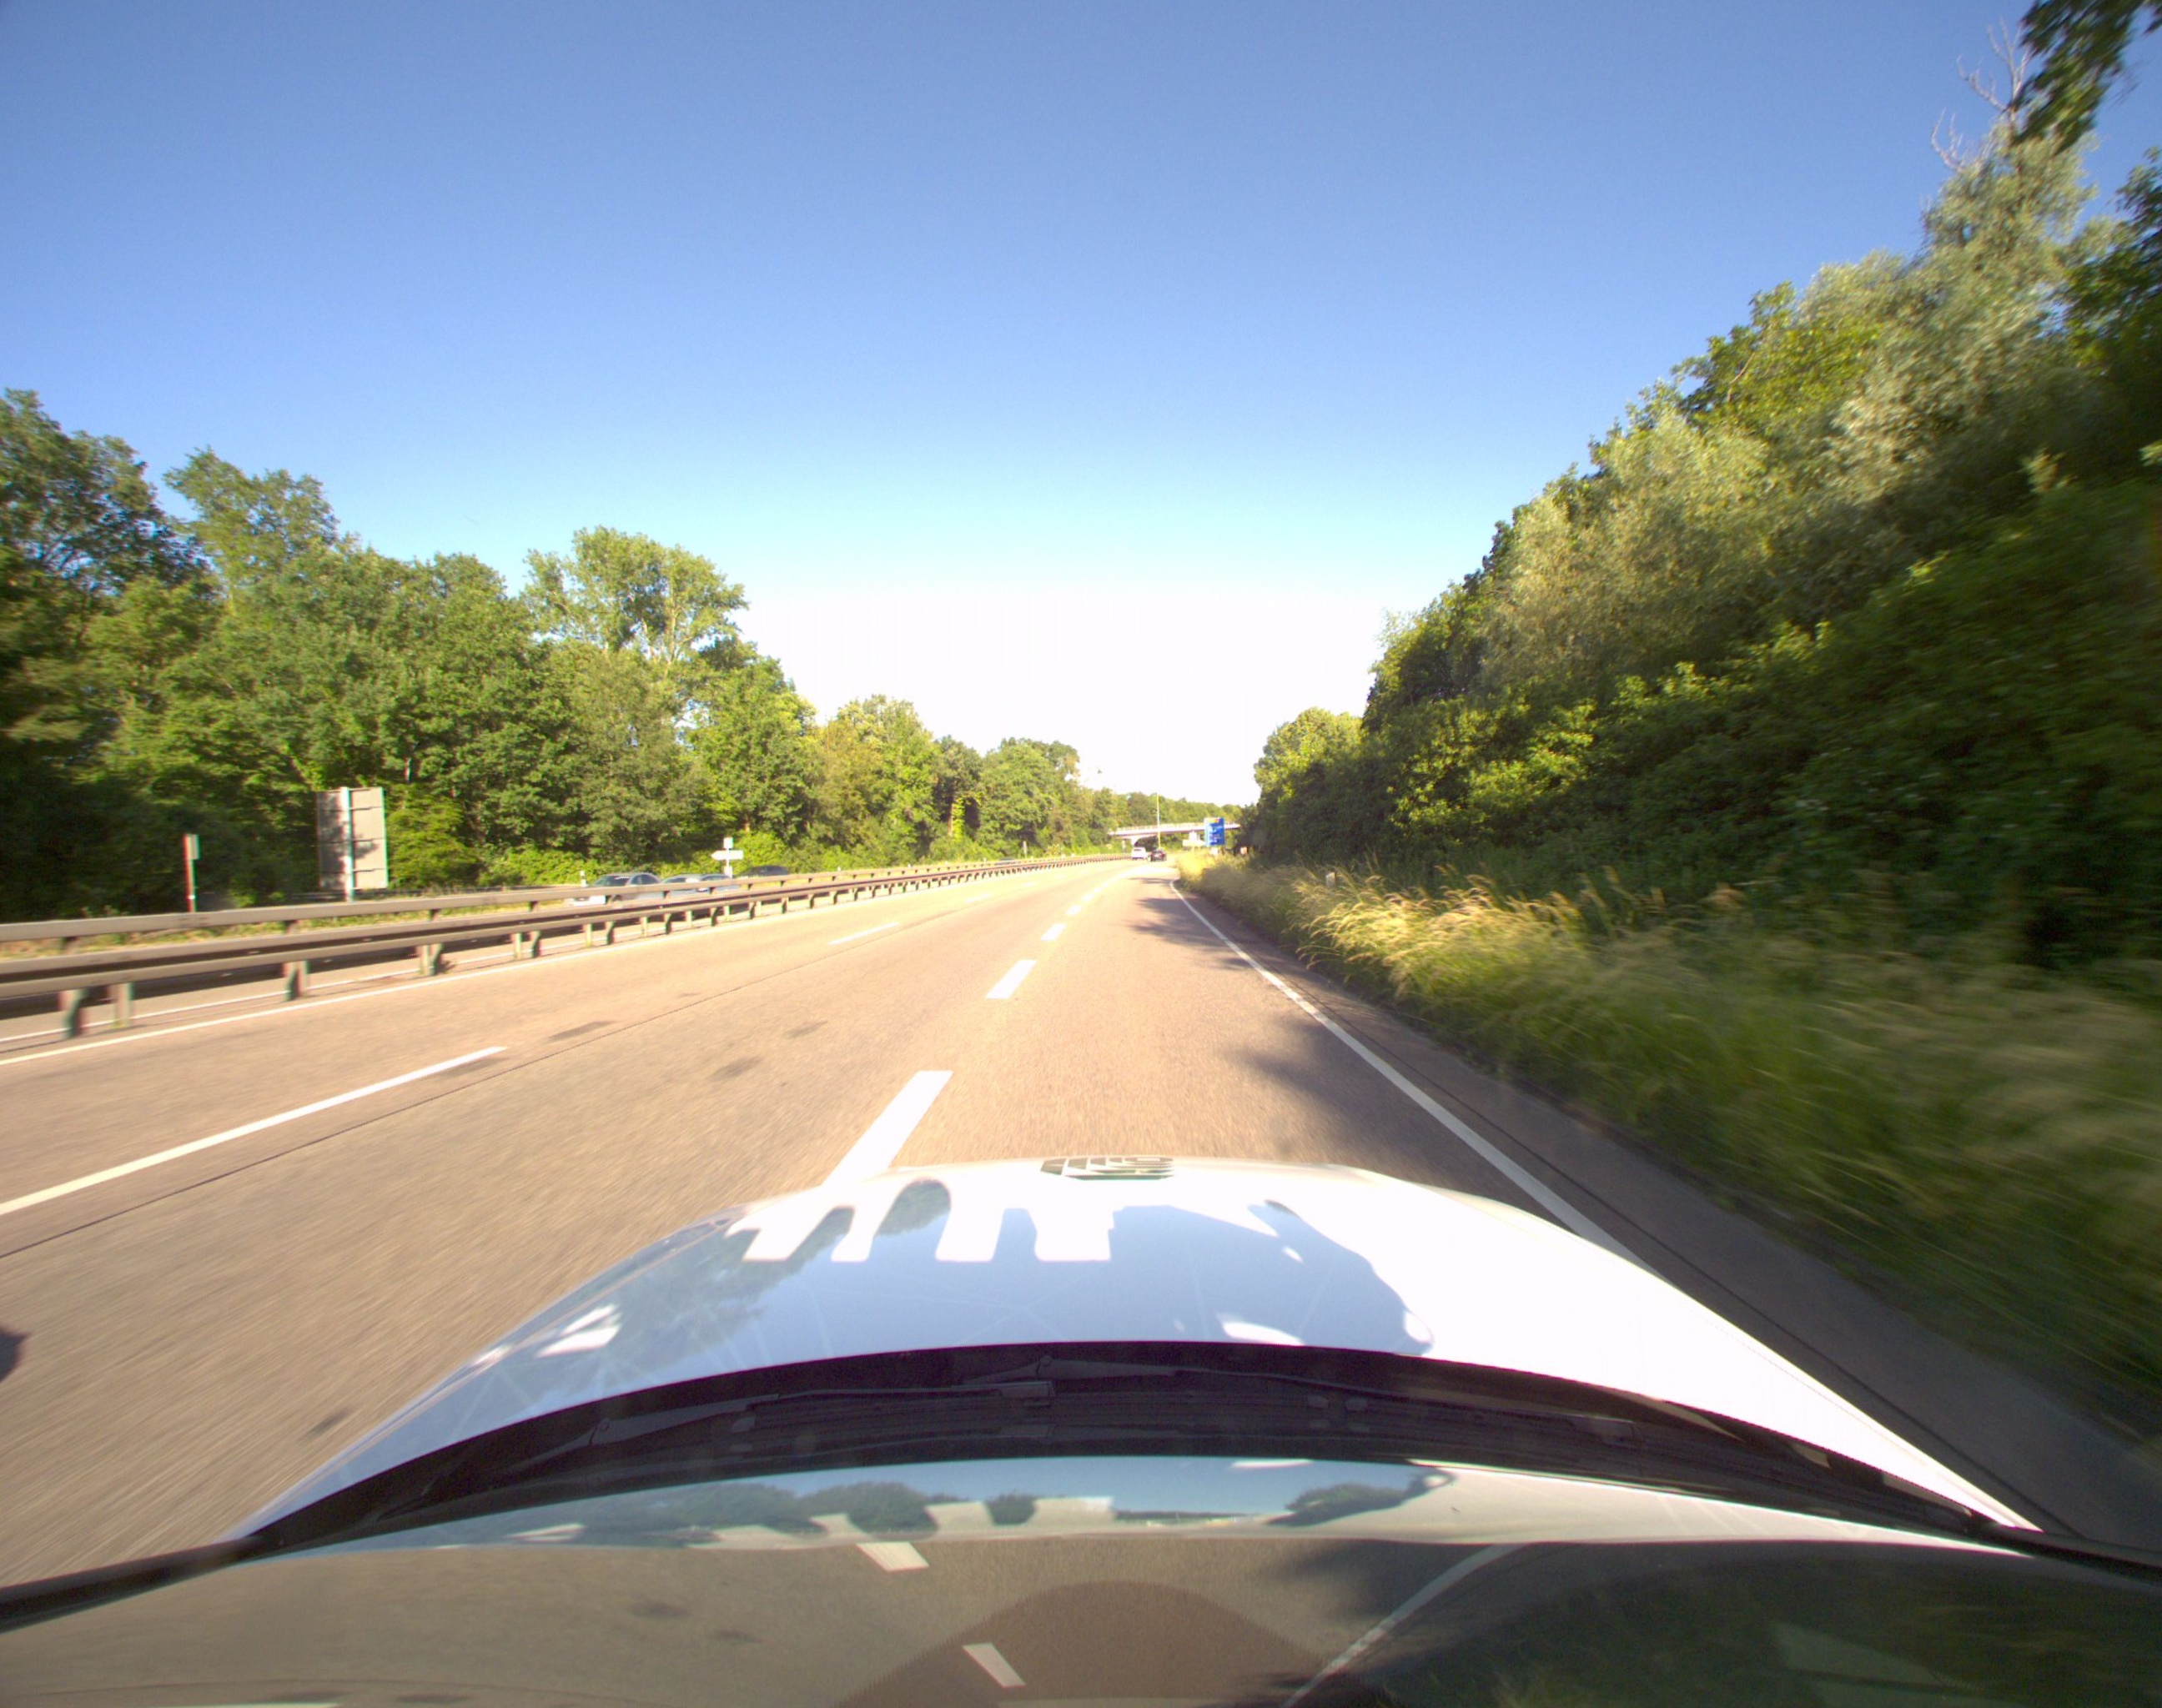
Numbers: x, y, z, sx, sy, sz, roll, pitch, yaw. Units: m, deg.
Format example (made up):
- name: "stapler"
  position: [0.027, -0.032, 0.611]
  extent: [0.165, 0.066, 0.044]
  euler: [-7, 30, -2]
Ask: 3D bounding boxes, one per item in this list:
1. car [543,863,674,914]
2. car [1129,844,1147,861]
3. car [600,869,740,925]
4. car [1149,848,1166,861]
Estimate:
- name: "car"
  position: [-17.291, 1.209, 30.089]
  extent: [1.985, 1.649, 4.427]
  euler: [-2, 0, 4]
- name: "car"
  position: [8.249, -0.251, 117.698]
  extent: [1.980, 2.277, 4.014]
  euler: [-2, 0, 13]
- name: "car"
  position: [-13.027, 1.303, 26.182]
  extent: [1.985, 1.513, 4.427]
  euler: [-1, 0, 4]
- name: "car"
  position: [10.091, 0.060, 107.122]
  extent: [1.728, 1.662, 3.958]
  euler: [-2, 0, 11]
